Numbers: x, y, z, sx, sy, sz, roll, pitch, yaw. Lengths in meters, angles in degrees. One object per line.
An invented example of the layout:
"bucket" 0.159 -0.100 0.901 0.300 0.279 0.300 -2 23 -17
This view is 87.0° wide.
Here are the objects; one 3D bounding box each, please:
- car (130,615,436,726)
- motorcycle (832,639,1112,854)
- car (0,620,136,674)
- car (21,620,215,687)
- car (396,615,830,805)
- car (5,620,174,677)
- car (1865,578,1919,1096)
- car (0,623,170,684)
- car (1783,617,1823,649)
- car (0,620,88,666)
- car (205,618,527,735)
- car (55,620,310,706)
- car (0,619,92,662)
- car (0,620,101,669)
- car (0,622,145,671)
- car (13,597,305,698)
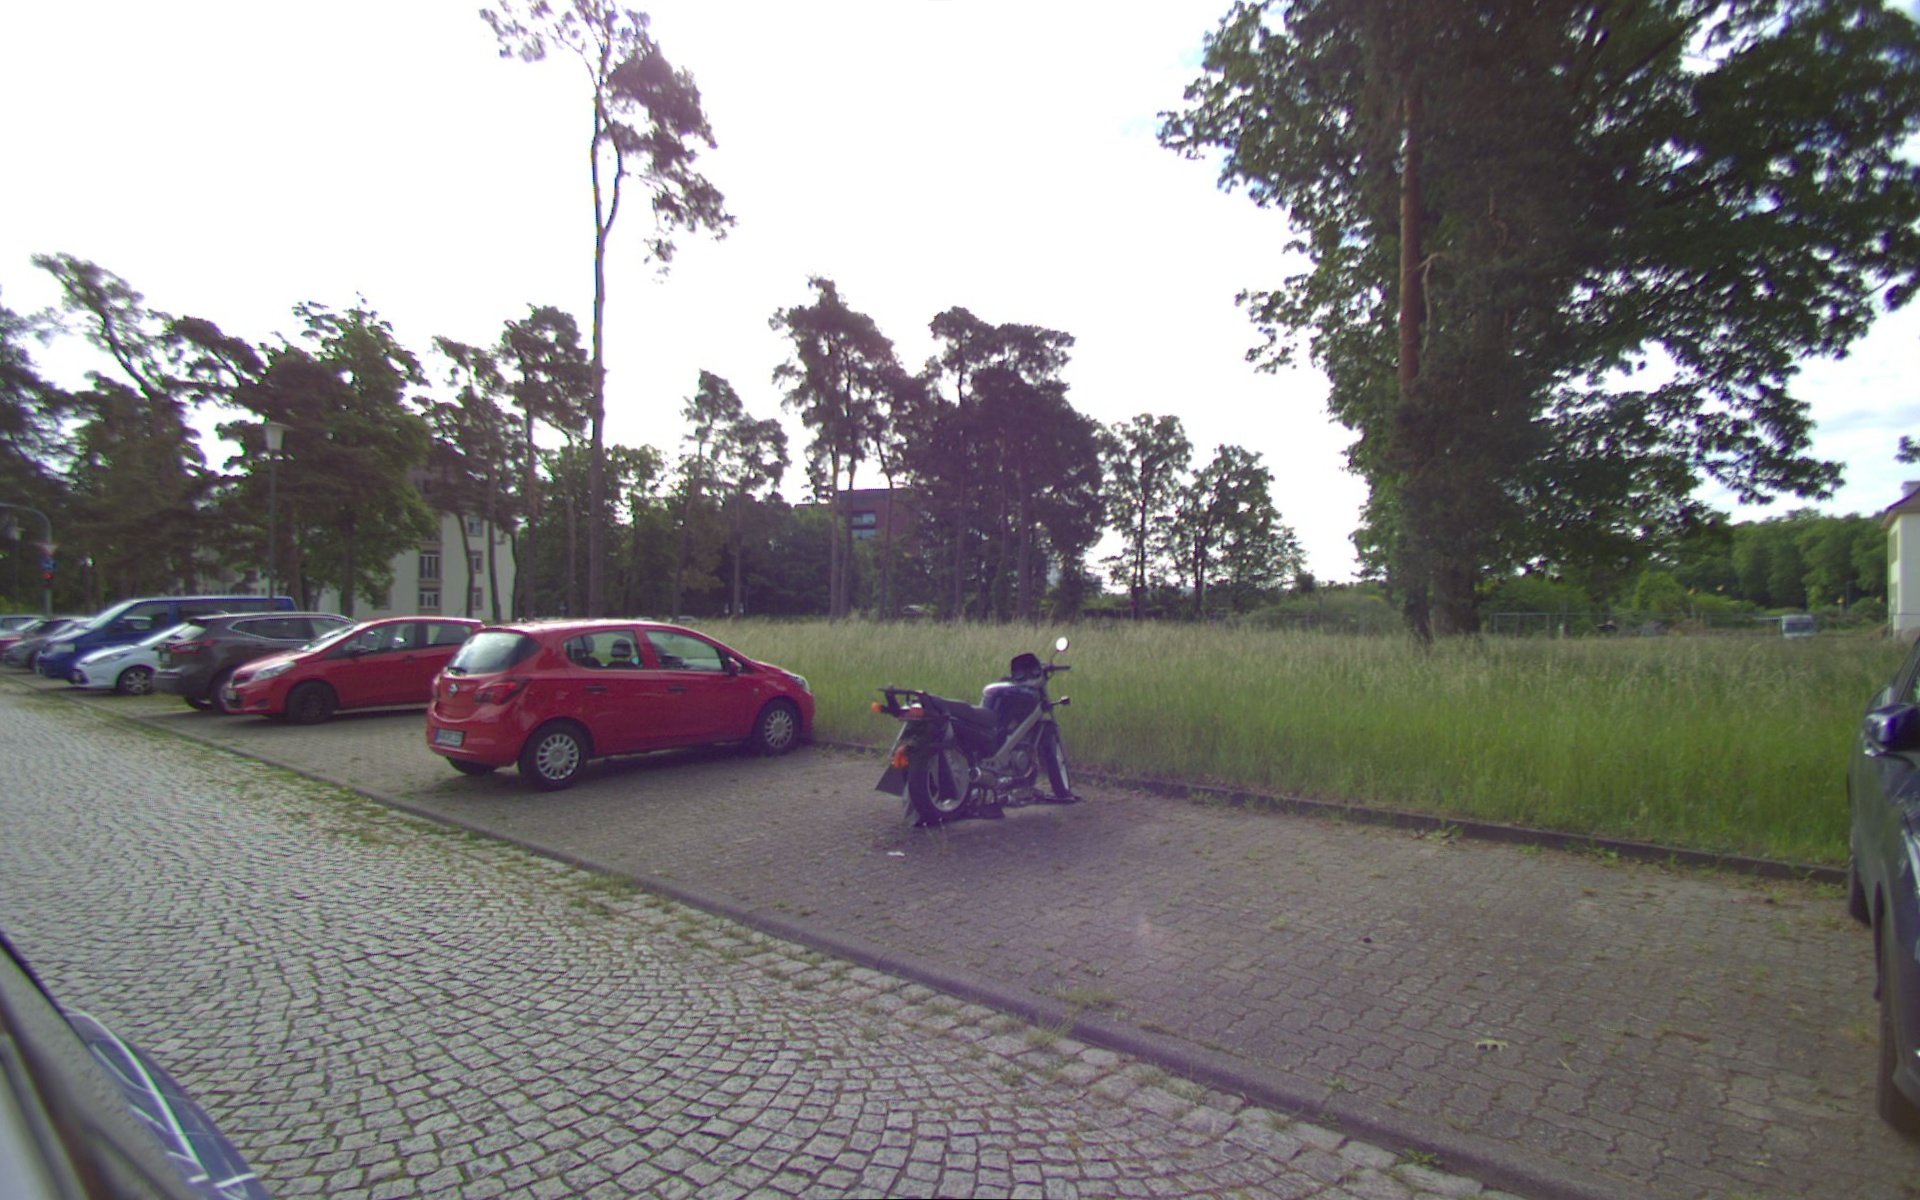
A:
"car" -11.131 1.089 16.867 1.819 1.616 3.868 -1 -2 38
"motorcycle" 0.174 0.961 7.497 0.743 1.298 2.331 -2 -2 41
"car" -28.415 1.449 31.826 1.634 1.427 3.533 0 2 34
"car" -21.972 1.334 26.516 1.683 1.465 3.560 0 2 34
"car" -3.301 0.928 10.198 1.670 1.490 3.844 -1 -1 40
"car" -26.121 1.403 30.472 1.602 1.445 3.533 0 2 34
"car" 4.225 0.736 3.256 1.789 1.585 4.096 0 -1 40
"car" -24.262 1.406 27.941 1.614 1.431 3.560 0 1 34
"car" 60.135 2.342 72.236 2.036 2.028 4.175 0 2 38
"car" -34.197 1.568 36.796 1.624 1.469 3.528 0 2 38
"car" -8.888 1.054 15.385 1.706 1.532 3.900 -2 -2 41
"car" -16.009 1.216 20.998 1.741 1.403 3.881 0 2 39
"car" -35.669 1.550 38.676 1.622 1.442 3.419 0 2 31
"car" -31.884 1.519 34.595 1.598 1.498 3.534 0 2 33
"car" -29.824 1.511 34.012 1.621 1.358 3.601 0 2 45
"car" -17.880 0.941 22.803 2.159 1.880 4.773 0 2 39
